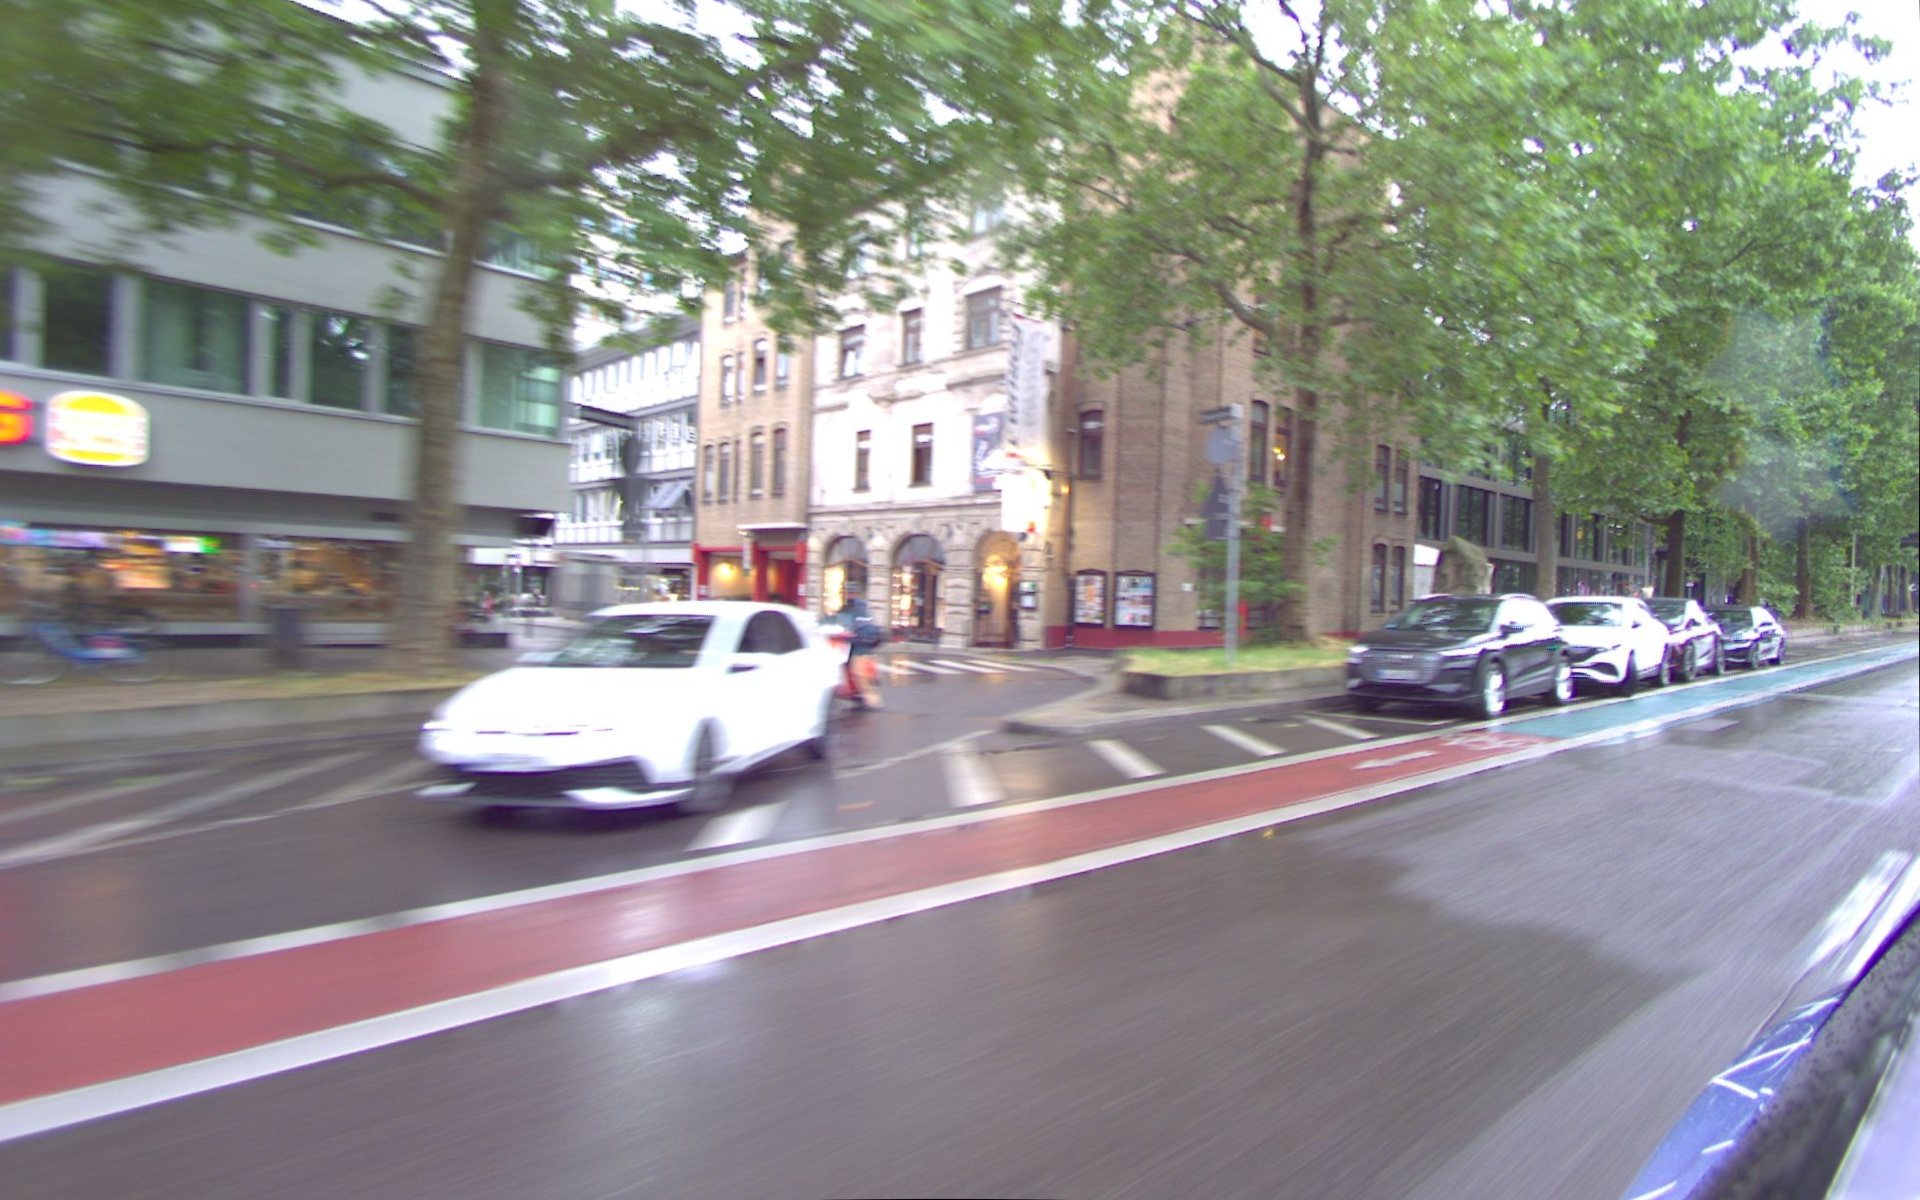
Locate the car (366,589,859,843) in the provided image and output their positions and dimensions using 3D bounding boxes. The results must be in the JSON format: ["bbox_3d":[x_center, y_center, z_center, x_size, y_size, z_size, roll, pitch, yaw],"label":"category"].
[{"bbox_3d":[-2.342,0.655,8.258,1.838,1.463,4.495,0,0,11],"label":"car"}]

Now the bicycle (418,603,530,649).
[{"bbox_3d":[-10.284,0.558,21.471,2.041,0.907,0.583,3,-1,-44],"label":"bicycle"}]

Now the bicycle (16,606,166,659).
[{"bbox_3d":[-14.833,0.533,17.315,0.640,0.829,1.885,1,1,41],"label":"bicycle"}]

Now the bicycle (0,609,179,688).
[{"bbox_3d":[-11.376,0.603,13.160,1.881,0.934,0.642,0,2,-43],"label":"bicycle"}]

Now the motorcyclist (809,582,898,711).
[{"bbox_3d":[-1.430,0.591,13.621,0.842,1.665,0.862,1,0,32],"label":"motorcyclist"}]

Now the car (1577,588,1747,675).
[{"bbox_3d":[14.587,0.567,20.937,4.483,1.609,1.996,0,0,-43],"label":"car"}]

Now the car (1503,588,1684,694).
[{"bbox_3d":[11.050,0.616,17.511,1.752,1.605,4.339,0,0,45],"label":"car"}]

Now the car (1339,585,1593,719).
[{"bbox_3d":[7.314,0.628,14.439,4.348,1.623,1.795,0,0,-42],"label":"car"}]

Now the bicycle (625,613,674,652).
[{"bbox_3d":[-8.237,0.838,26.809,0.613,0.949,1.972,0,0,-36],"label":"bicycle"}]

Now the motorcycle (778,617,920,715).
[{"bbox_3d":[-1.450,0.838,13.606,0.862,1.157,1.999,1,0,31],"label":"motorcycle"}]

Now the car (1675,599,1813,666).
[{"bbox_3d":[18.819,0.705,24.212,4.505,1.451,1.746,0,0,-40],"label":"car"}]
